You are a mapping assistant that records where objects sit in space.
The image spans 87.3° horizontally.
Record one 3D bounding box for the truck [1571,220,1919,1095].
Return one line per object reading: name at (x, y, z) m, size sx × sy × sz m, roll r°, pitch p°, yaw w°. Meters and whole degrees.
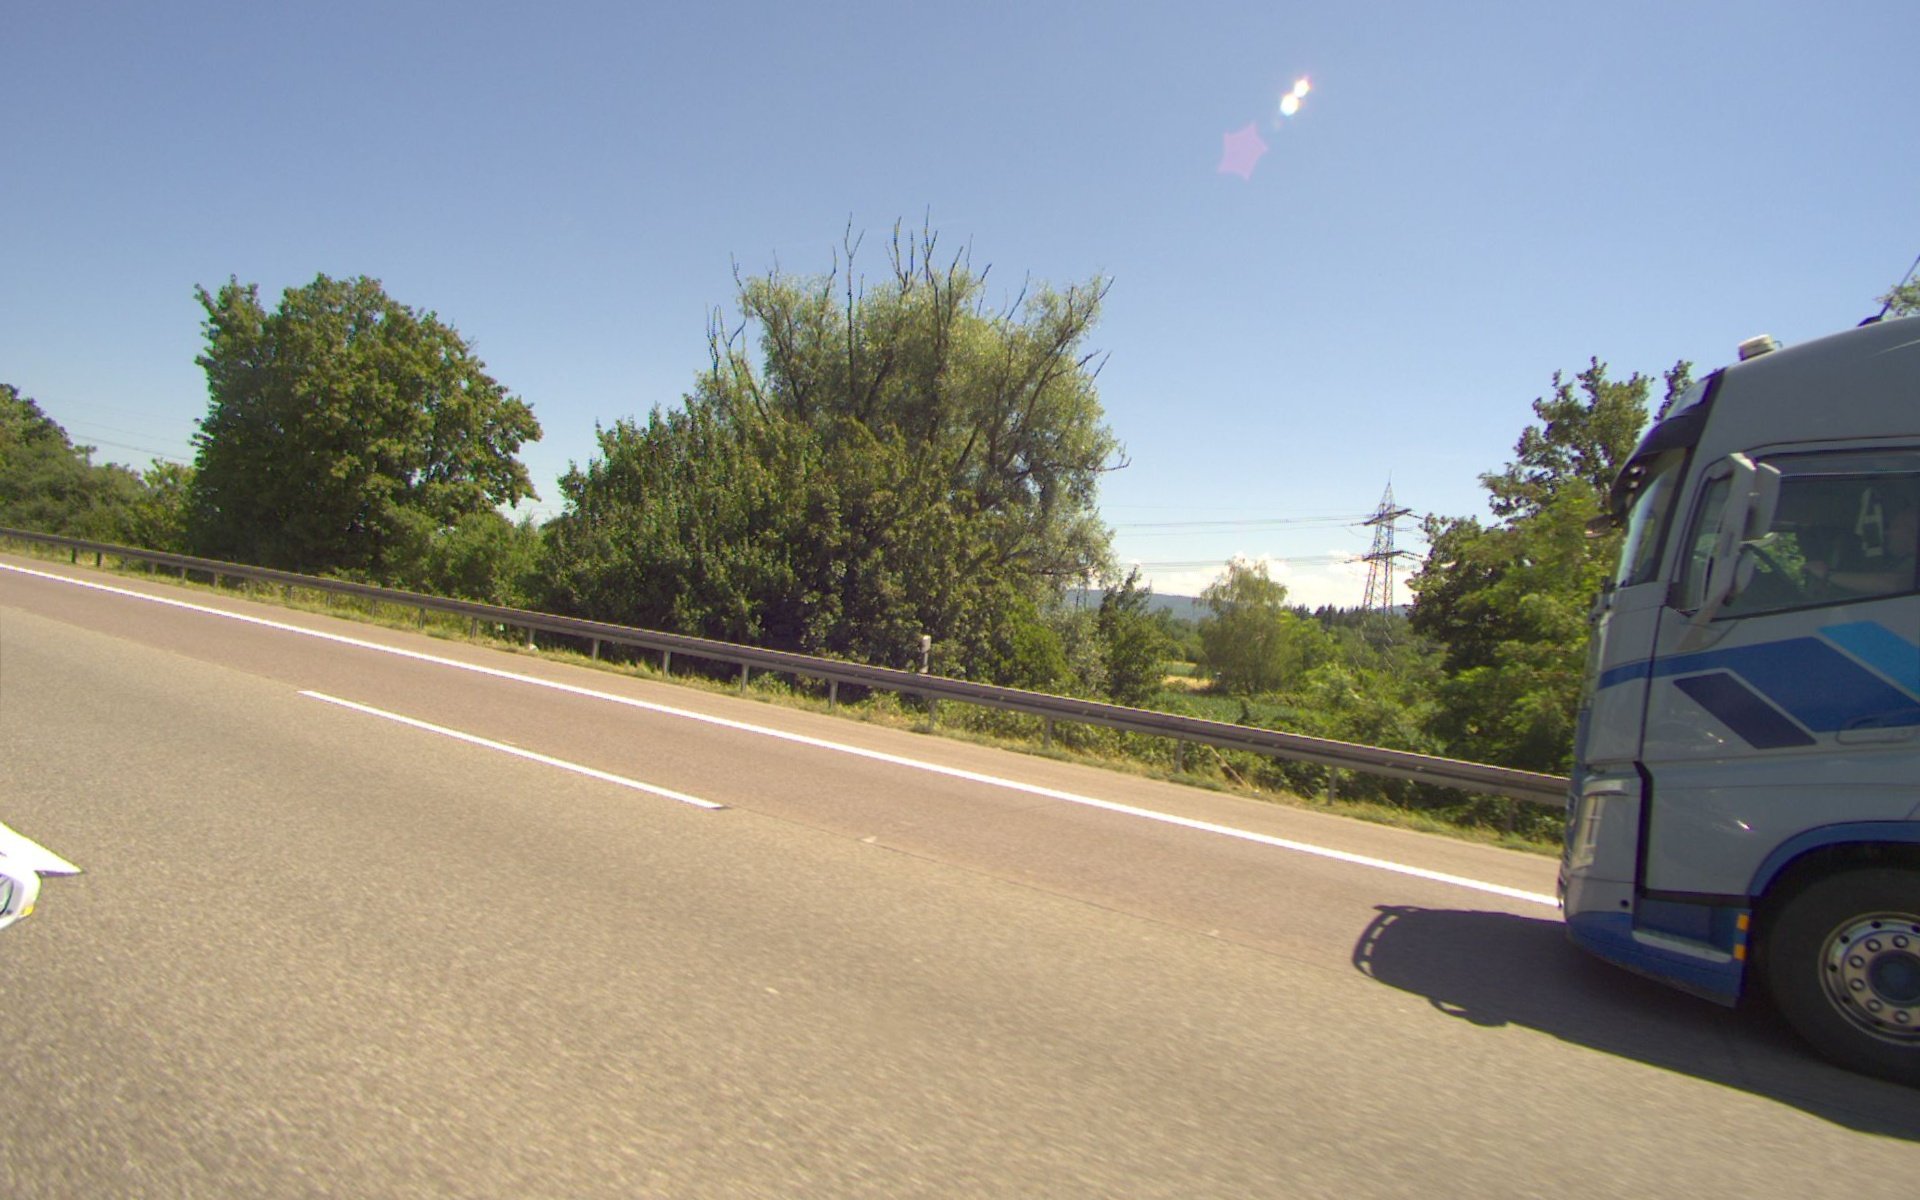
truck at (11.185, 0.985, 2.301) m, size 16.334 × 4.003 × 2.976 m, roll 6°, pitch -2°, yaw 31°
